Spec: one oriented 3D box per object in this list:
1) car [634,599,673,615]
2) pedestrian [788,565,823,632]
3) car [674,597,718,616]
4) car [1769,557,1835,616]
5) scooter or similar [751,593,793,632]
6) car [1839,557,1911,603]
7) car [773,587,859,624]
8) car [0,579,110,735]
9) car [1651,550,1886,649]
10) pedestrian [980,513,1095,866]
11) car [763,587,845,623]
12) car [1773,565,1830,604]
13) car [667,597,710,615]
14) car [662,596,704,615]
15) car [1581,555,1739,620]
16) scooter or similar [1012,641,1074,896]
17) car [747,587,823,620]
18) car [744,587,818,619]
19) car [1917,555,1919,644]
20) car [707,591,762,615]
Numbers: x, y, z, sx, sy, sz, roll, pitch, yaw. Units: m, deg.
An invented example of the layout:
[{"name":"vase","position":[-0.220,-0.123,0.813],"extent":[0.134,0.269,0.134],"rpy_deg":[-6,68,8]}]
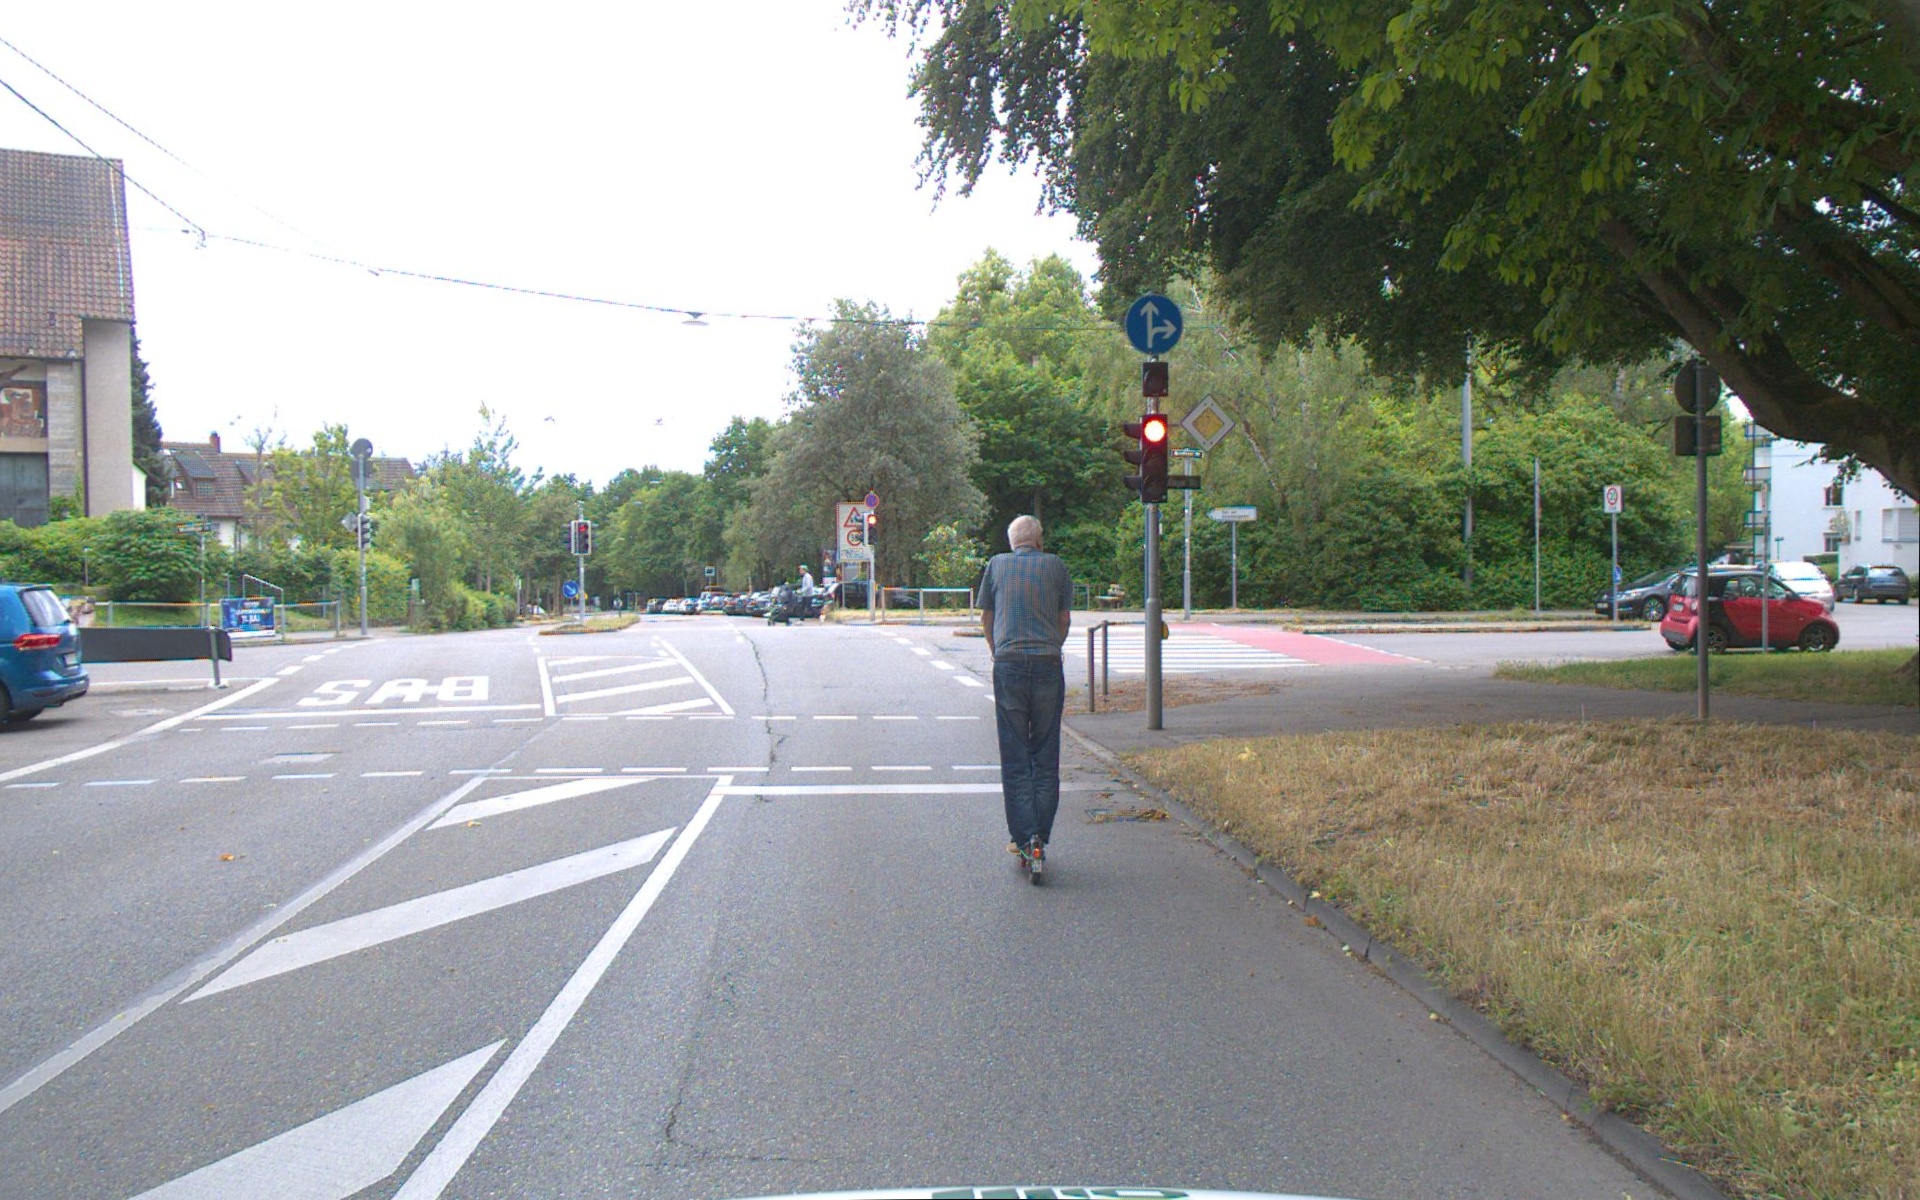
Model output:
[{"name":"car","position":[-33.061,0.744,178.506],"extent":[3.792,1.639,1.715],"rpy_deg":[-3,1,-24]},{"name":"pedestrian","position":[-4.501,-0.046,48.217],"extent":[0.870,1.895,0.571],"rpy_deg":[-1,0,-18]},{"name":"car","position":[-25.161,0.618,157.722],"extent":[3.792,1.639,1.715],"rpy_deg":[-3,1,-24]},{"name":"car","position":[25.682,-0.438,50.515],"extent":[1.689,1.639,3.851],"rpy_deg":[-2,1,26]},{"name":"scooter or similar","position":[-5.441,0.366,47.894],"extent":[1.091,1.100,0.574],"rpy_deg":[-1,0,-19]},{"name":"car","position":[34.949,-0.780,63.261],"extent":[1.686,1.639,3.856],"rpy_deg":[-2,1,18]},{"name":"car","position":[-7.045,0.251,80.921],"extent":[3.794,1.639,1.714],"rpy_deg":[-3,1,-26]},{"name":"car","position":[-11.668,0.664,18.041],"extent":[3.924,1.639,1.810],"rpy_deg":[-2,1,-17]},{"name":"car","position":[14.791,-0.026,30.386],"extent":[3.444,1.639,1.729],"rpy_deg":[-2,1,4]},{"name":"pedestrian","position":[0.412,0.468,8.913],"extent":[0.561,1.845,0.420],"rpy_deg":[-1,0,0]},{"name":"car","position":[-7.872,0.246,83.439],"extent":[3.792,1.639,1.715],"rpy_deg":[-3,1,-24]},{"name":"car","position":[38.040,-0.734,74.851],"extent":[1.686,1.639,3.856],"rpy_deg":[-2,1,18]},{"name":"car","position":[-26.248,0.560,159.824],"extent":[3.792,1.639,1.715],"rpy_deg":[-3,1,-24]},{"name":"car","position":[-27.212,0.547,162.367],"extent":[3.792,1.639,1.715],"rpy_deg":[-3,1,-24]},{"name":"car","position":[18.515,-0.327,43.838],"extent":[3.444,1.557,1.729],"rpy_deg":[-2,1,5]},{"name":"scooter or similar","position":[0.427,0.841,8.682],"extent":[0.276,1.199,1.177],"rpy_deg":[-1,0,2]},{"name":"car","position":[-9.606,0.163,90.740],"extent":[3.792,1.639,1.715],"rpy_deg":[-3,1,-24]},{"name":"car","position":[-10.076,0.160,93.139],"extent":[3.792,1.639,1.715],"rpy_deg":[-3,1,-24]},{"name":"car","position":[19.112,-0.040,29.057],"extent":[3.764,1.639,1.727],"rpy_deg":[-2,1,24]},{"name":"car","position":[-17.129,0.227,125.772],"extent":[3.792,1.639,1.715],"rpy_deg":[-3,1,-24]}]
